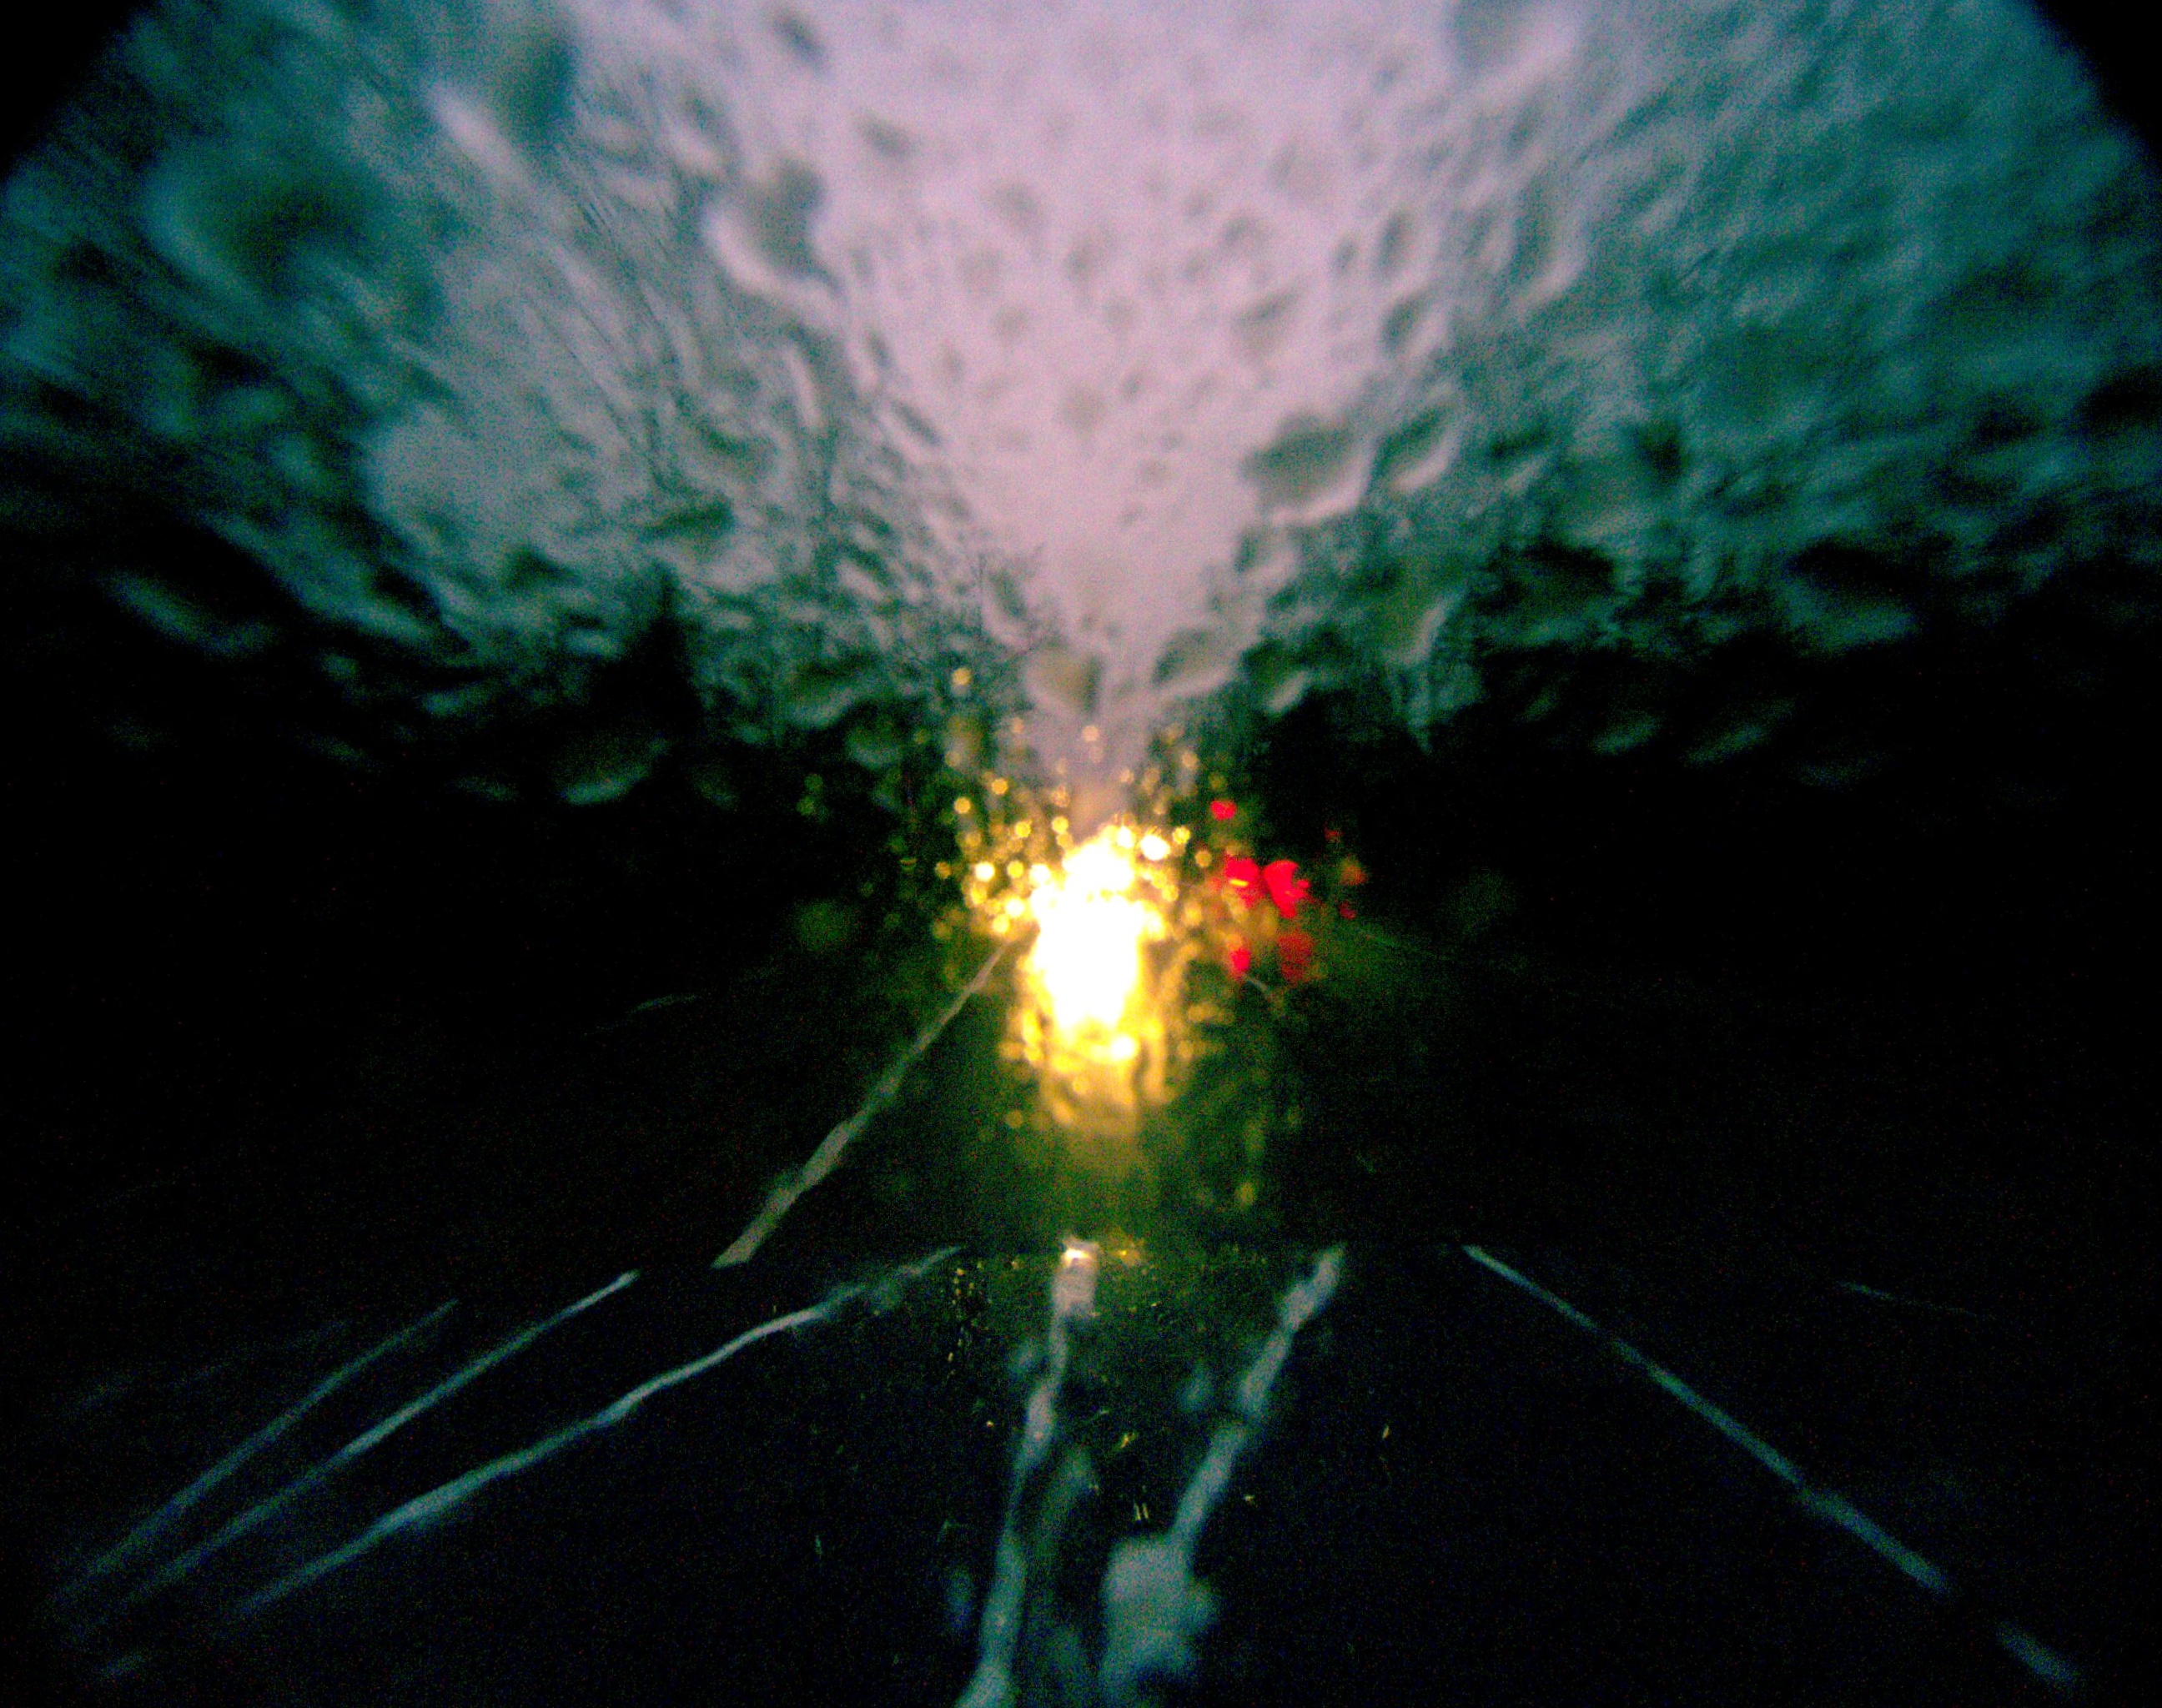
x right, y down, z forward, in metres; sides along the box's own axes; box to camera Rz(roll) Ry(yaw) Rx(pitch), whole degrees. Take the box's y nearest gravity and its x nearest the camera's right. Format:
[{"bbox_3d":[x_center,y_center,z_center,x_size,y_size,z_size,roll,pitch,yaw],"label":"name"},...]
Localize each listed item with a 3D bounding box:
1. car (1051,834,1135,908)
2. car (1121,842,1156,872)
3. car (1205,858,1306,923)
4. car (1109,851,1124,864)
[{"bbox_3d":[0.445,0.521,26.805,2.542,2.213,6.169,-2,0,1],"label":"car"},{"bbox_3d":[4.030,0.205,53.930,2.012,1.977,5.031,1,0,0],"label":"car"},{"bbox_3d":[4.317,0.846,19.321,1.758,1.449,3.637,1,0,1],"label":"car"},{"bbox_3d":[4.886,0.472,104.694,2.080,1.607,4.152,0,1,2],"label":"car"}]
